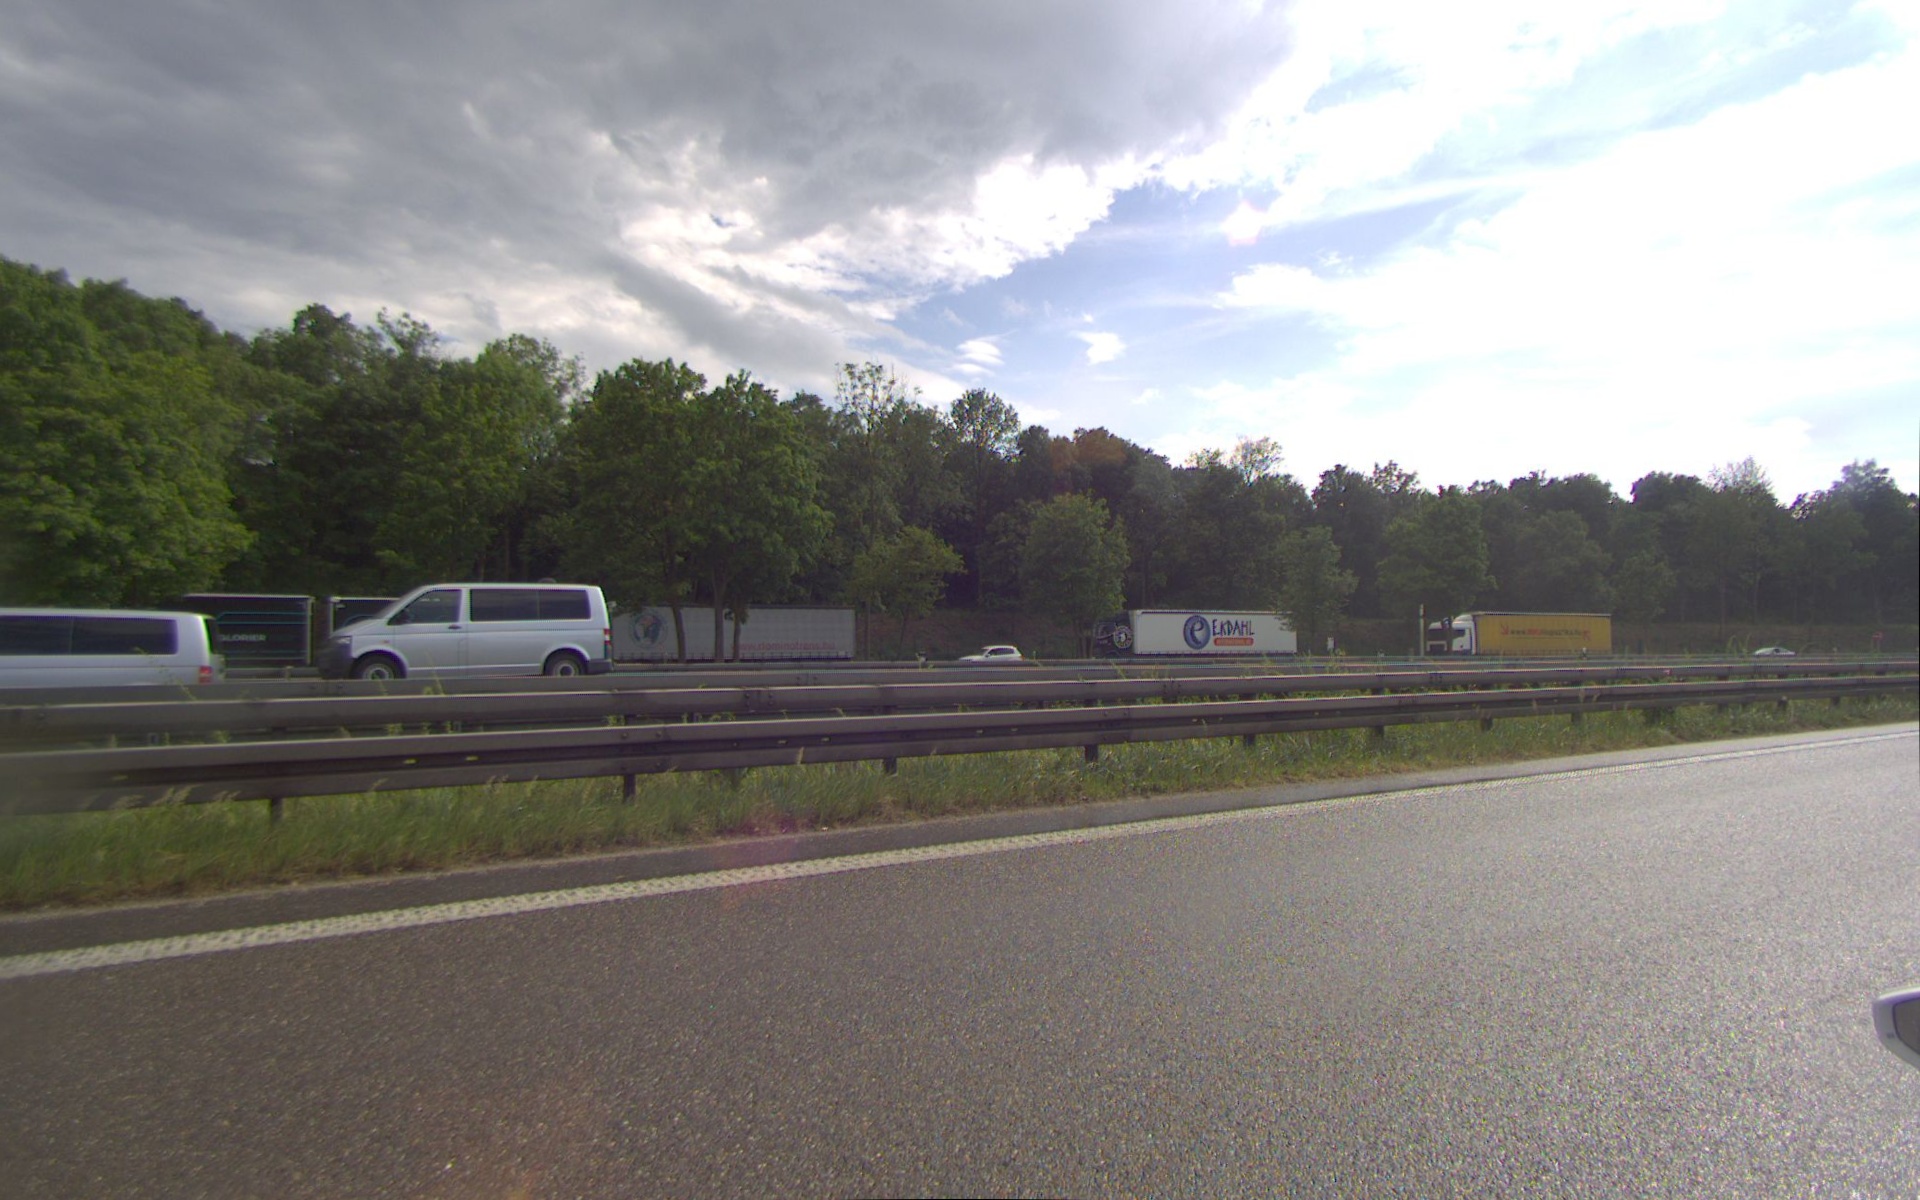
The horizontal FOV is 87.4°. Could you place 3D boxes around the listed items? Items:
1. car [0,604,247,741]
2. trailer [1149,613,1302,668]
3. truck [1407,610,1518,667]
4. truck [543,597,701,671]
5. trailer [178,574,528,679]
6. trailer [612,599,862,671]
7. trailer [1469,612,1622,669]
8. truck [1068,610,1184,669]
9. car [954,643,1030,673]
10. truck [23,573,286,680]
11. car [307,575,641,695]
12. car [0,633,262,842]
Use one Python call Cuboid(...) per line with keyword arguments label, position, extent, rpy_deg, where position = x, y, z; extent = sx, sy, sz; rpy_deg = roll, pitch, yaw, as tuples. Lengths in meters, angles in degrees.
Cuboid(label="car", position=(-14.121, 1.041, 15.205), extent=(5.200, 1.916, 2.036), rpy_deg=(2, -1, -31))
Cuboid(label="trailer", position=(18.720, 2.838, 70.686), extent=(10.349, 3.697, 3.780), rpy_deg=(1, -2, -23))
Cuboid(label="truck", position=(39.085, 2.990, 78.219), extent=(6.932, 4.171, 3.786), rpy_deg=(2, 0, -17))
Cuboid(label="truck", position=(-17.852, 1.793, 53.072), extent=(7.269, 3.637, 3.770), rpy_deg=(2, -1, -30))
Cuboid(label="trailer", position=(-28.165, 1.335, 47.745), extent=(13.637, 4.464, 3.772), rpy_deg=(1, -2, -30))
Cuboid(label="trailer", position=(-12.293, 1.977, 56.286), extent=(13.186, 3.697, 3.772), rpy_deg=(1, -2, -30))
Cuboid(label="trailer", position=(47.010, 3.257, 80.666), extent=(11.537, 4.171, 3.786), rpy_deg=(2, 0, -17))
Cuboid(label="truck", position=(11.082, 2.620, 67.210), extent=(6.615, 3.709, 3.776), rpy_deg=(2, 0, -25))
Cuboid(label="car", position=(2.035, 3.645, 63.087), extent=(4.313, 1.741, 2.050), rpy_deg=(2, -1, -28))
Cuboid(label="truck", position=(-34.705, 1.168, 43.868), extent=(8.319, 4.290, 3.770), rpy_deg=(2, 0, -30))
Cuboid(label="car", position=(-8.729, 0.637, 18.342), extent=(5.200, 1.916, 2.036), rpy_deg=(2, -1, -31))
Cuboid(label="car", position=(-10.272, 1.316, 10.045), extent=(5.200, 1.916, 2.036), rpy_deg=(2, -1, -31))
